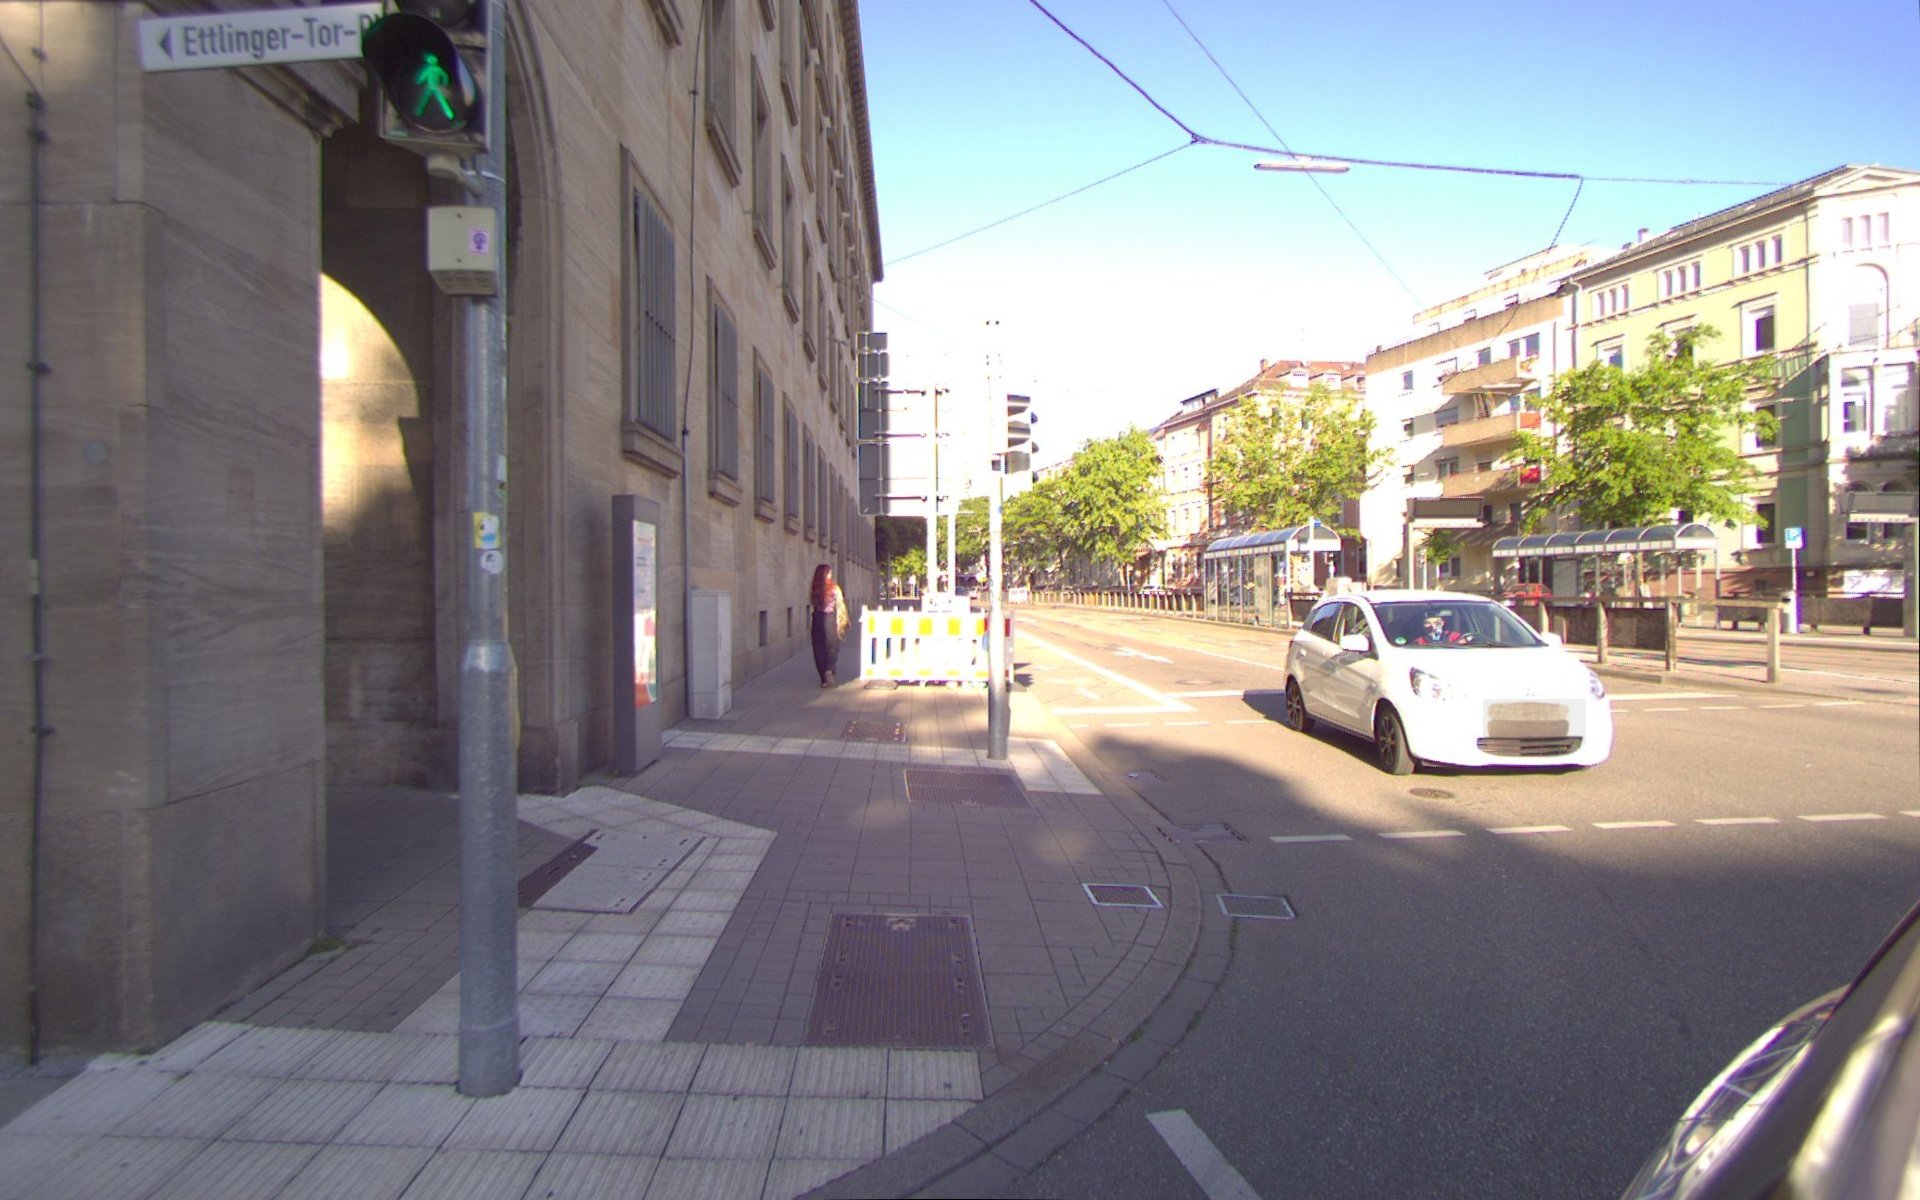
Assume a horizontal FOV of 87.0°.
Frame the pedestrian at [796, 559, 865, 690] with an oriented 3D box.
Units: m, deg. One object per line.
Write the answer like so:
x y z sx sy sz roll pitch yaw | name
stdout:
-1.707 0.311 13.500 0.724 1.641 0.919 4 0 -2 | pedestrian

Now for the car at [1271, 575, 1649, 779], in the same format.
4.324 0.533 9.471 1.648 1.482 3.765 -2 1 1 | car

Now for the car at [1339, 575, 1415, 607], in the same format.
22.531 -0.489 54.862 1.704 1.604 4.009 -2 1 -15 | car

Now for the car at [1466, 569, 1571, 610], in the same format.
24.499 -0.478 44.397 3.916 1.604 1.744 -2 1 -16 | car

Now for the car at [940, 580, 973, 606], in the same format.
-0.315 -0.613 82.481 1.722 2.039 3.714 0 1 -15 | car

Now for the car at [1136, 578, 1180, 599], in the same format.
16.450 -0.953 83.956 1.734 1.604 3.939 -1 2 44 | car
